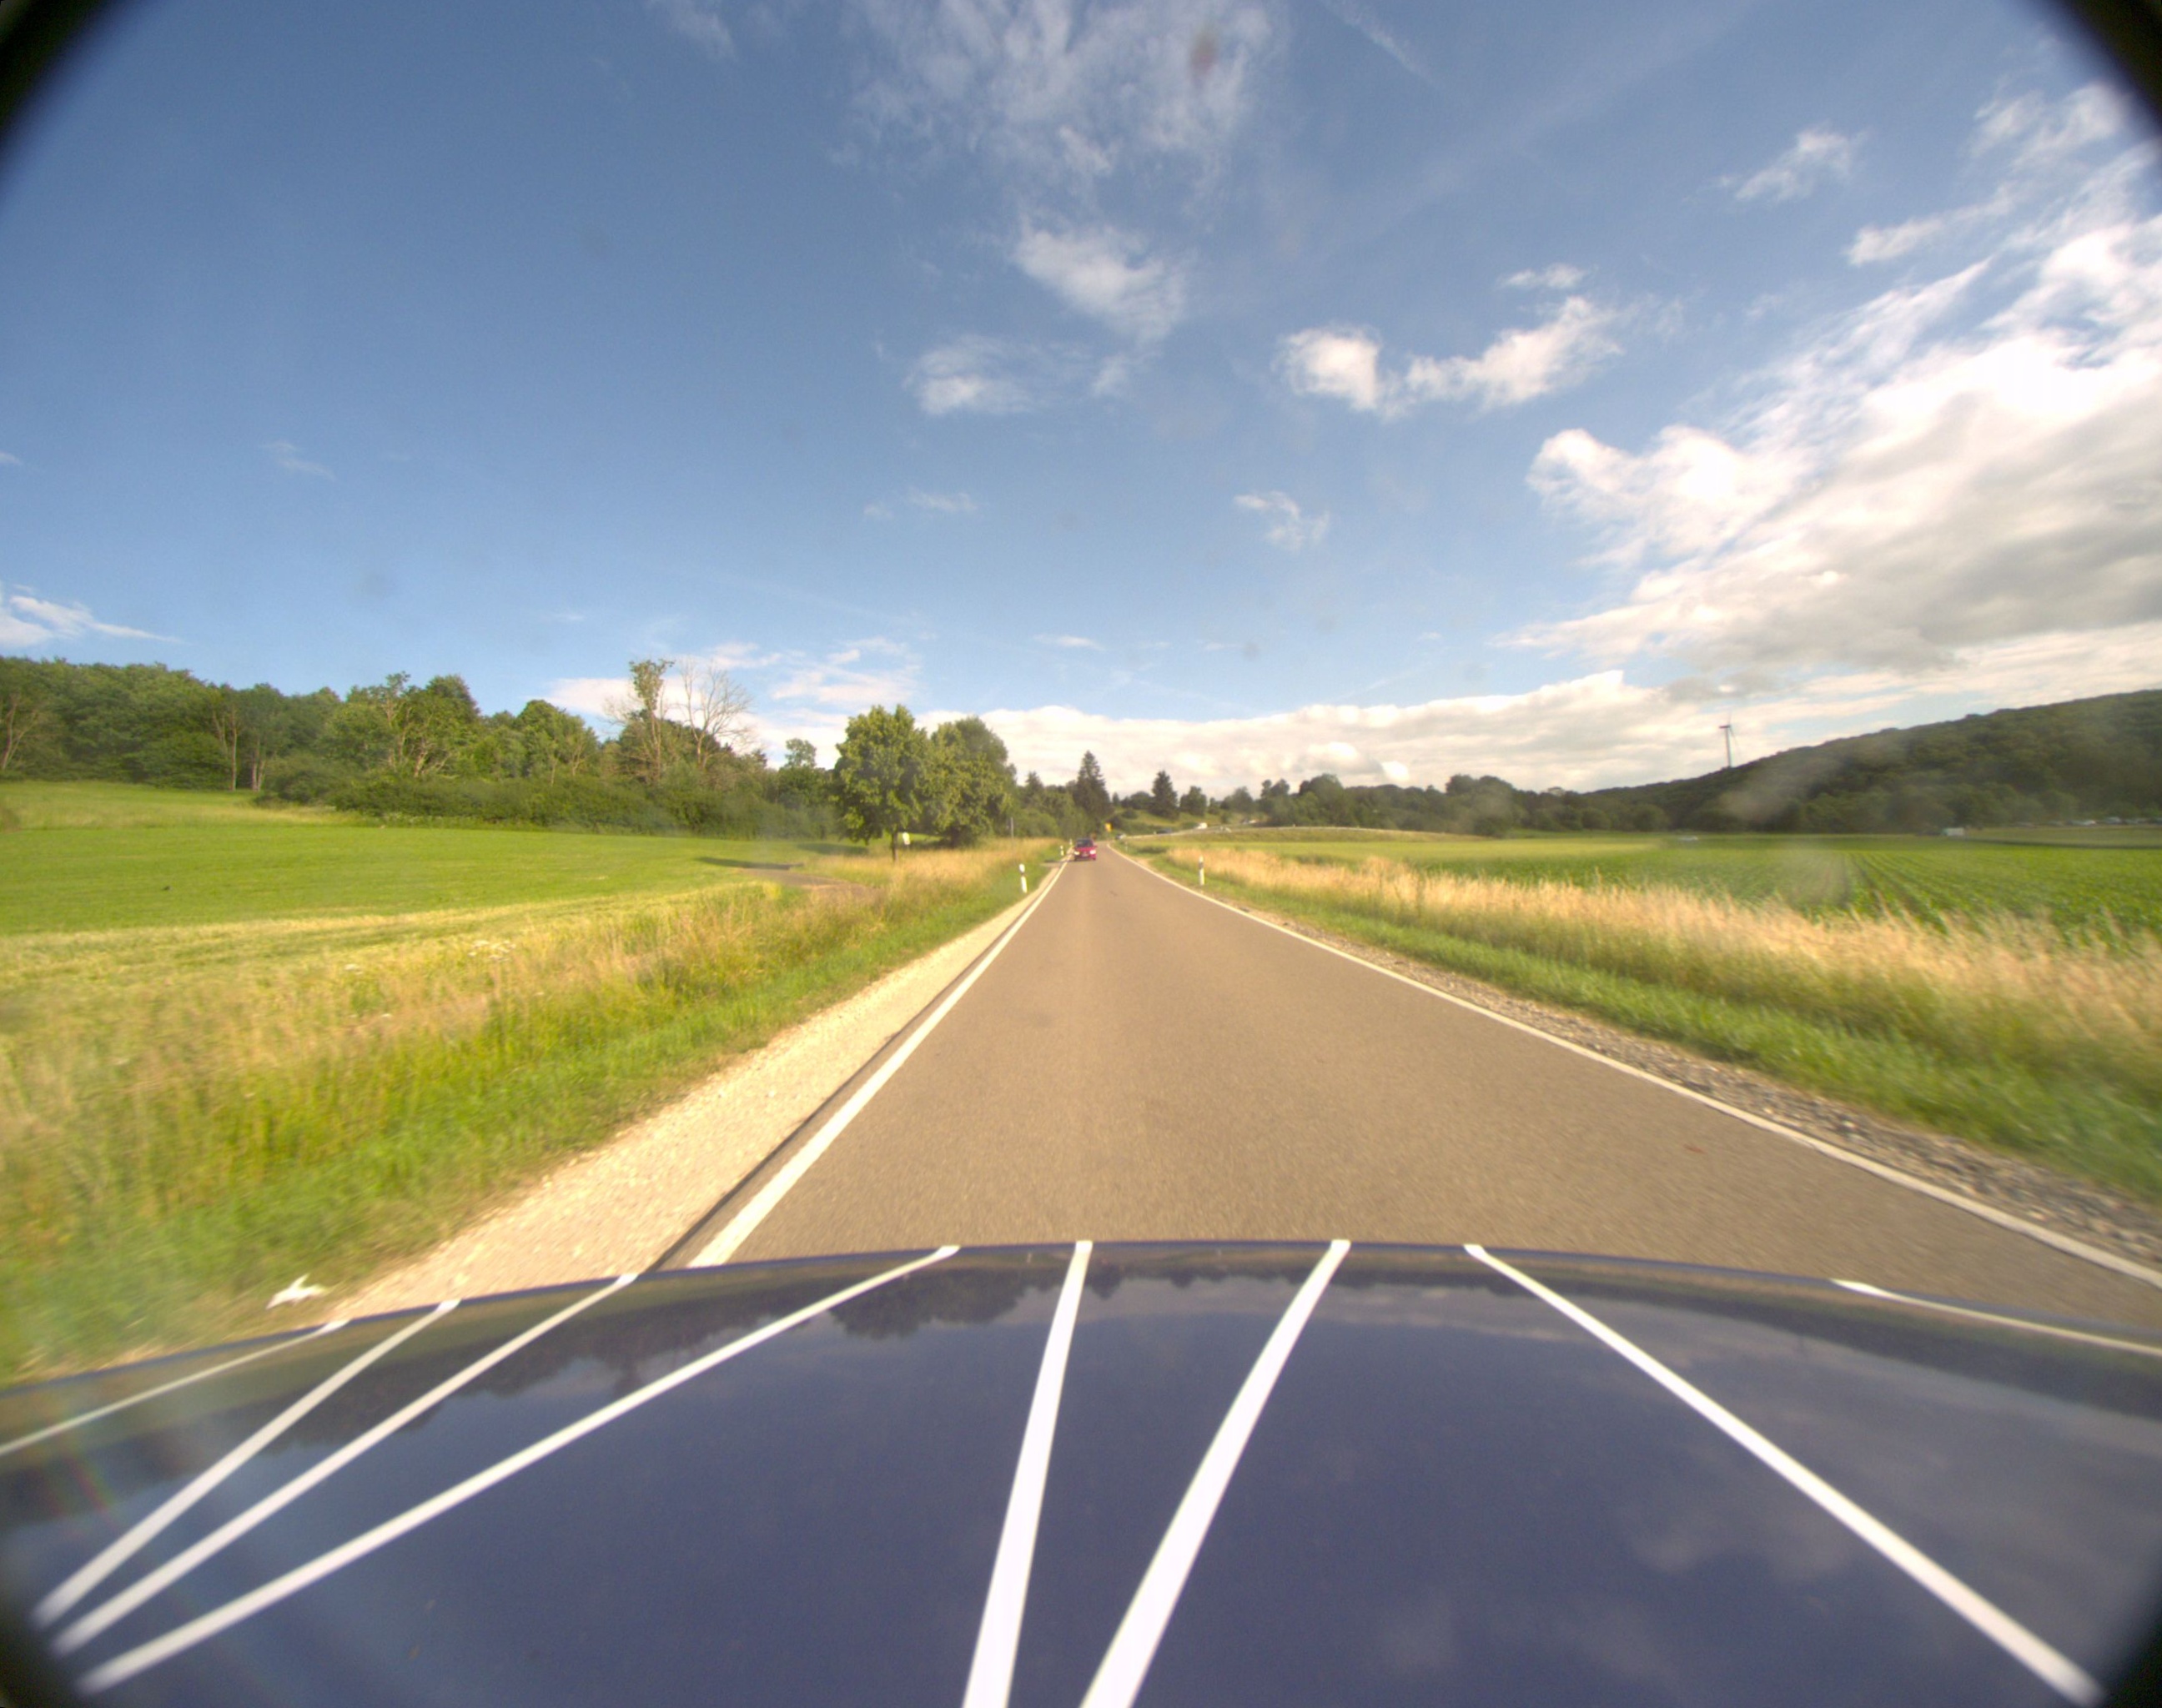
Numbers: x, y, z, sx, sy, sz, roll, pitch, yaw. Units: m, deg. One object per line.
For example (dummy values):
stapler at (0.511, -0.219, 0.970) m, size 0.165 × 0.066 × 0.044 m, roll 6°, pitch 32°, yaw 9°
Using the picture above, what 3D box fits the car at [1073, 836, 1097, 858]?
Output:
car at (0.305, -0.587, 63.610) m, size 1.821 × 1.645 × 3.999 m, roll -3°, pitch 1°, yaw -2°
